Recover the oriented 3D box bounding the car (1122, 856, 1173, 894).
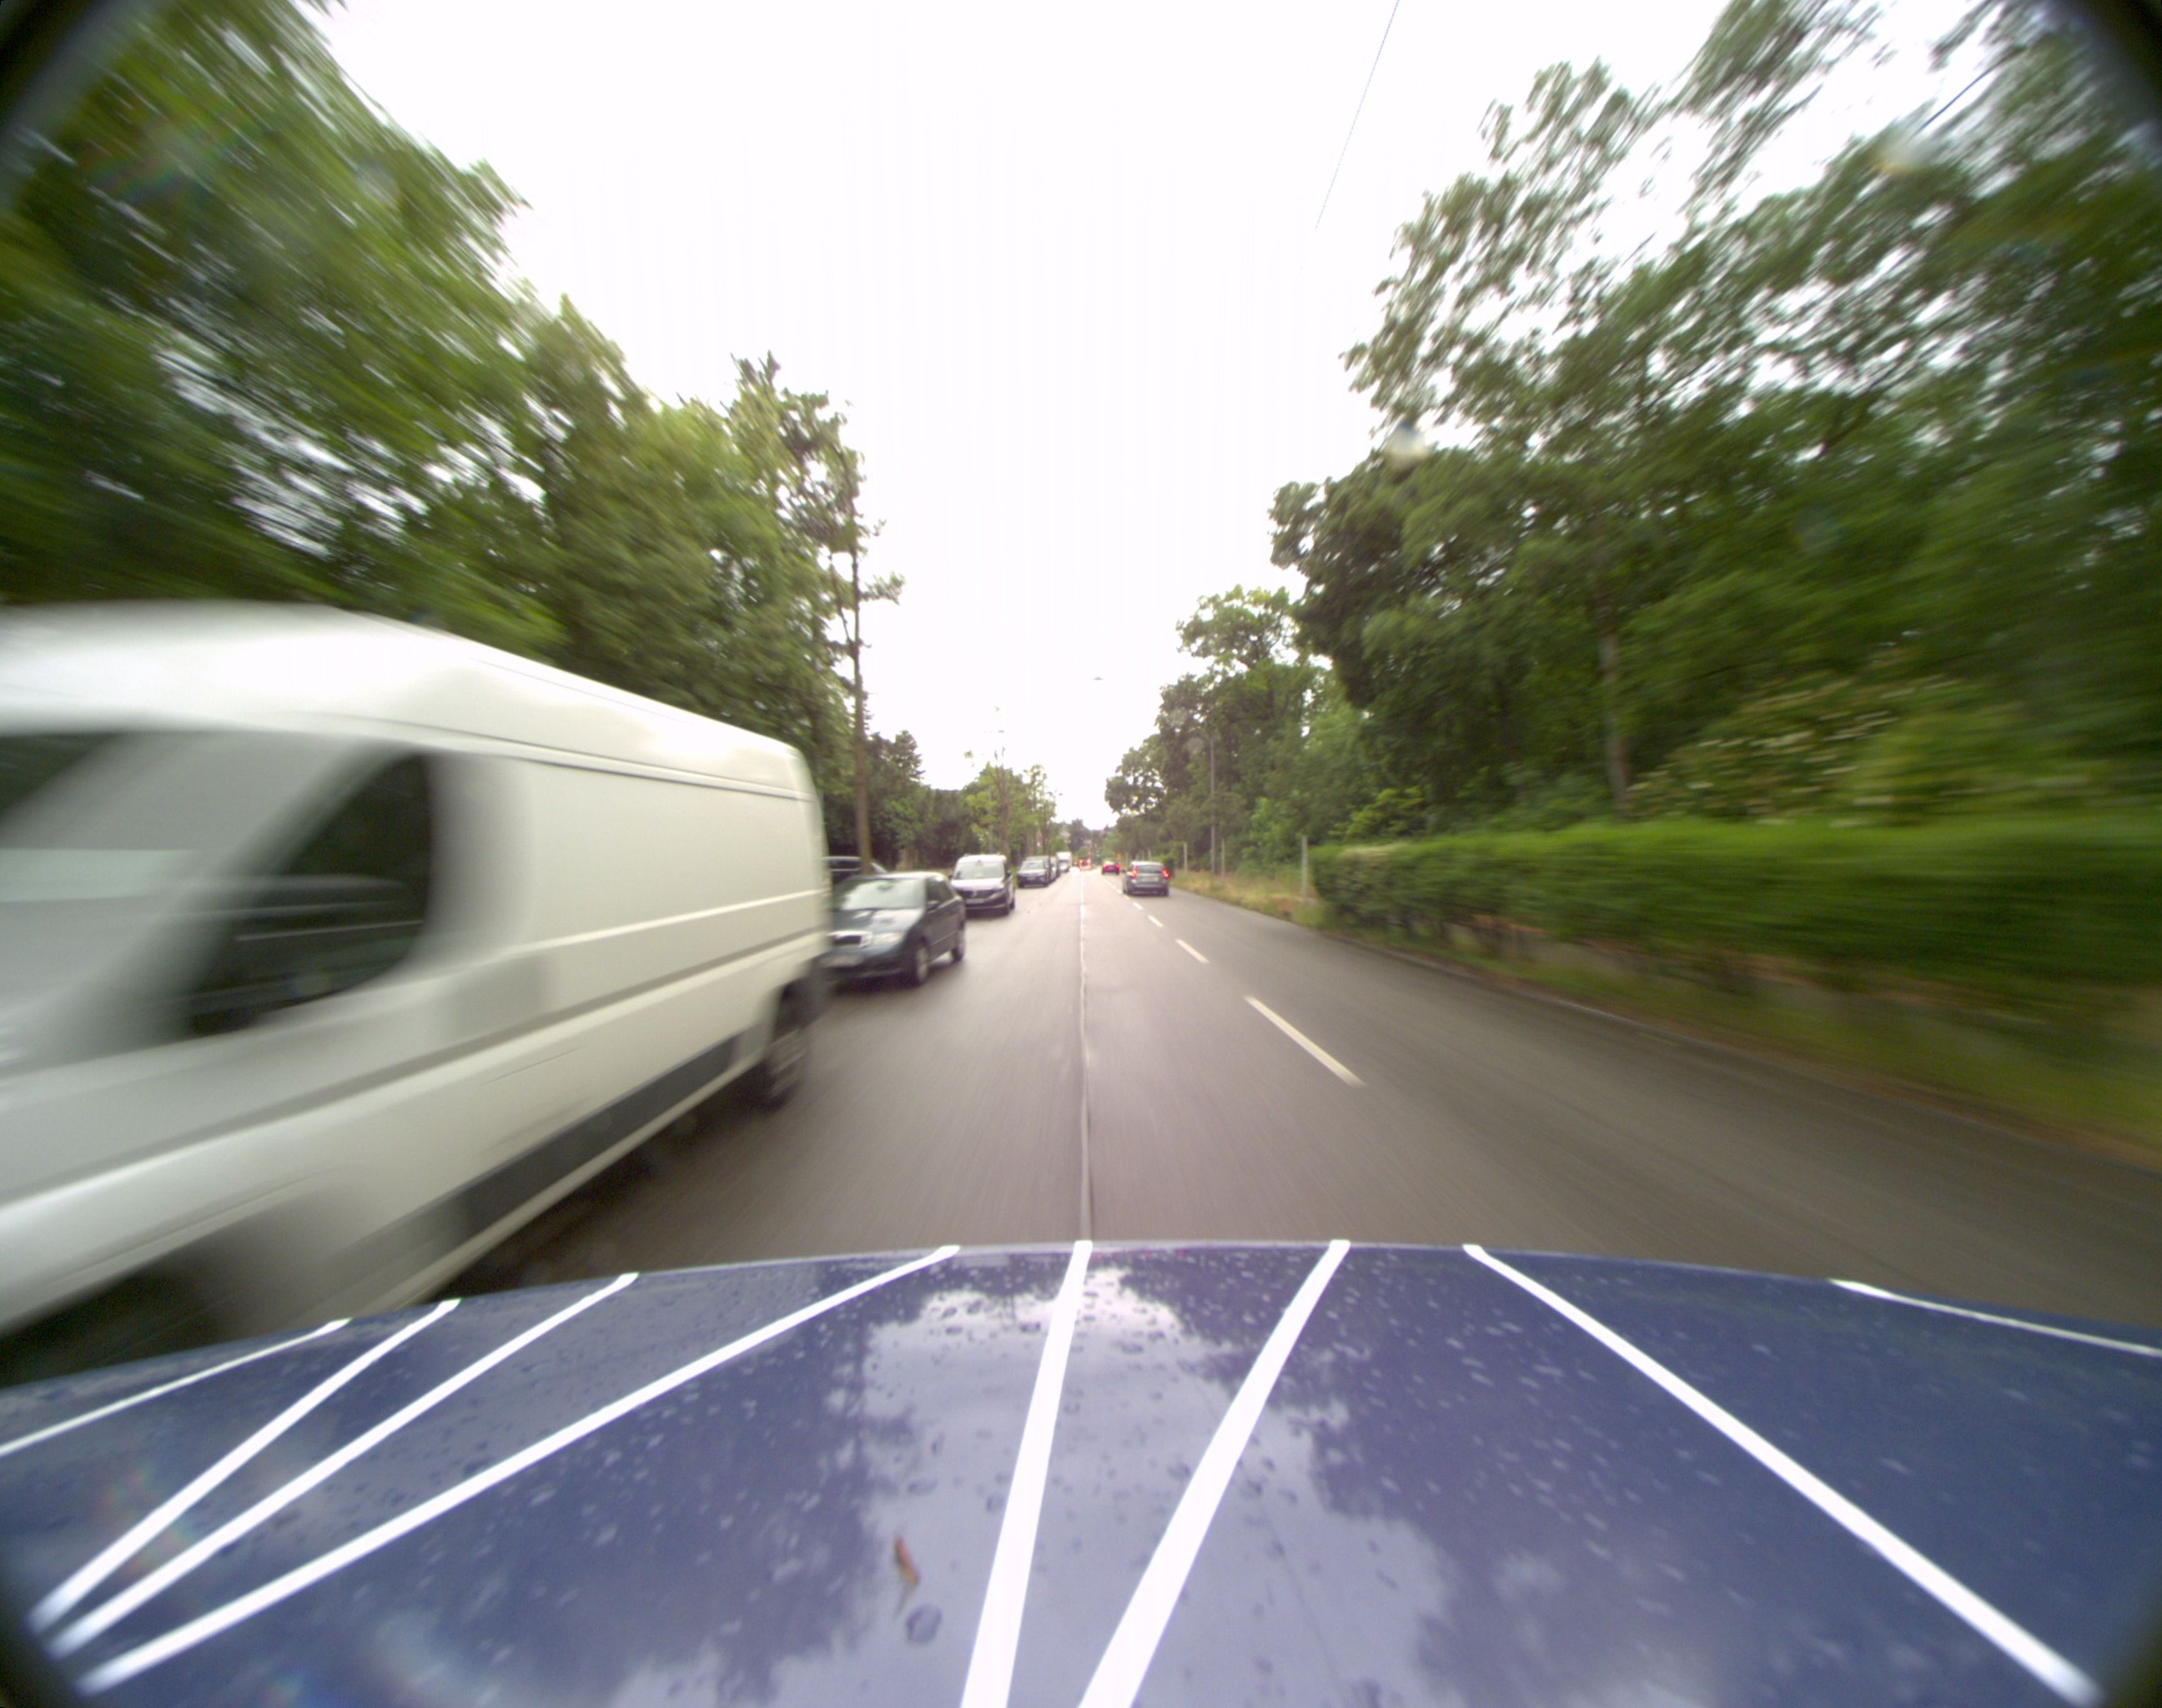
[{"bbox_3d":[2.792,0.851,32.638,1.788,1.471,3.967,-1,1,0],"label":"car"}]

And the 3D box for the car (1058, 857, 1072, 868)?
[{"bbox_3d":[-2.124,1.178,102.492,1.786,1.387,4.000,-3,-1,-1],"label":"car"}]

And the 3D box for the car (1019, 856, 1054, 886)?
[{"bbox_3d":[-2.741,1.039,47.528,1.778,1.712,4.327,-3,-1,1],"label":"car"}]

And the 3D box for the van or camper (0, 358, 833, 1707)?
[{"bbox_3d":[-2.993,0.459,3.086,2.084,2.635,5.346,-3,-1,0],"label":"van or camper"}]

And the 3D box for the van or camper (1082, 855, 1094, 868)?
[{"bbox_3d":[1.897,2.077,207.200,2.863,3.159,6.852,-3,-1,2],"label":"van or camper"}]

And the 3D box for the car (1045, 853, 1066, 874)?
[{"bbox_3d":[-2.332,0.915,70.492,1.734,1.836,4.230,-3,-1,0],"label":"car"}]

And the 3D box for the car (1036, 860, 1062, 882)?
[{"bbox_3d":[-2.484,1.366,60.445,1.809,1.603,4.286,-3,-1,0],"label":"car"}]

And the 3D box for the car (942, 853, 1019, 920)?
[{"bbox_3d":[-3.003,0.953,23.526,1.819,1.802,4.282,-3,-1,-1],"label":"car"}]

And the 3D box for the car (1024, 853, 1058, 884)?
[{"bbox_3d":[-2.797,1.033,54.435,1.998,2.001,4.888,-3,-1,1],"label":"car"}]

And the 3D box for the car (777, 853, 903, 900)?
[{"bbox_3d":[-9.505,0.864,30.202,4.319,1.672,2.000,1,1,1],"label":"car"}]

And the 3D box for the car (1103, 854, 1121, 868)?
[{"bbox_3d":[3.386,0.741,82.675,1.865,1.471,4.156,0,0,1],"label":"car"}]

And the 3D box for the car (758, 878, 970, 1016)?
[{"bbox_3d":[-2.800,1.144,10.691,1.629,1.455,3.809,-3,-1,3],"label":"car"}]
